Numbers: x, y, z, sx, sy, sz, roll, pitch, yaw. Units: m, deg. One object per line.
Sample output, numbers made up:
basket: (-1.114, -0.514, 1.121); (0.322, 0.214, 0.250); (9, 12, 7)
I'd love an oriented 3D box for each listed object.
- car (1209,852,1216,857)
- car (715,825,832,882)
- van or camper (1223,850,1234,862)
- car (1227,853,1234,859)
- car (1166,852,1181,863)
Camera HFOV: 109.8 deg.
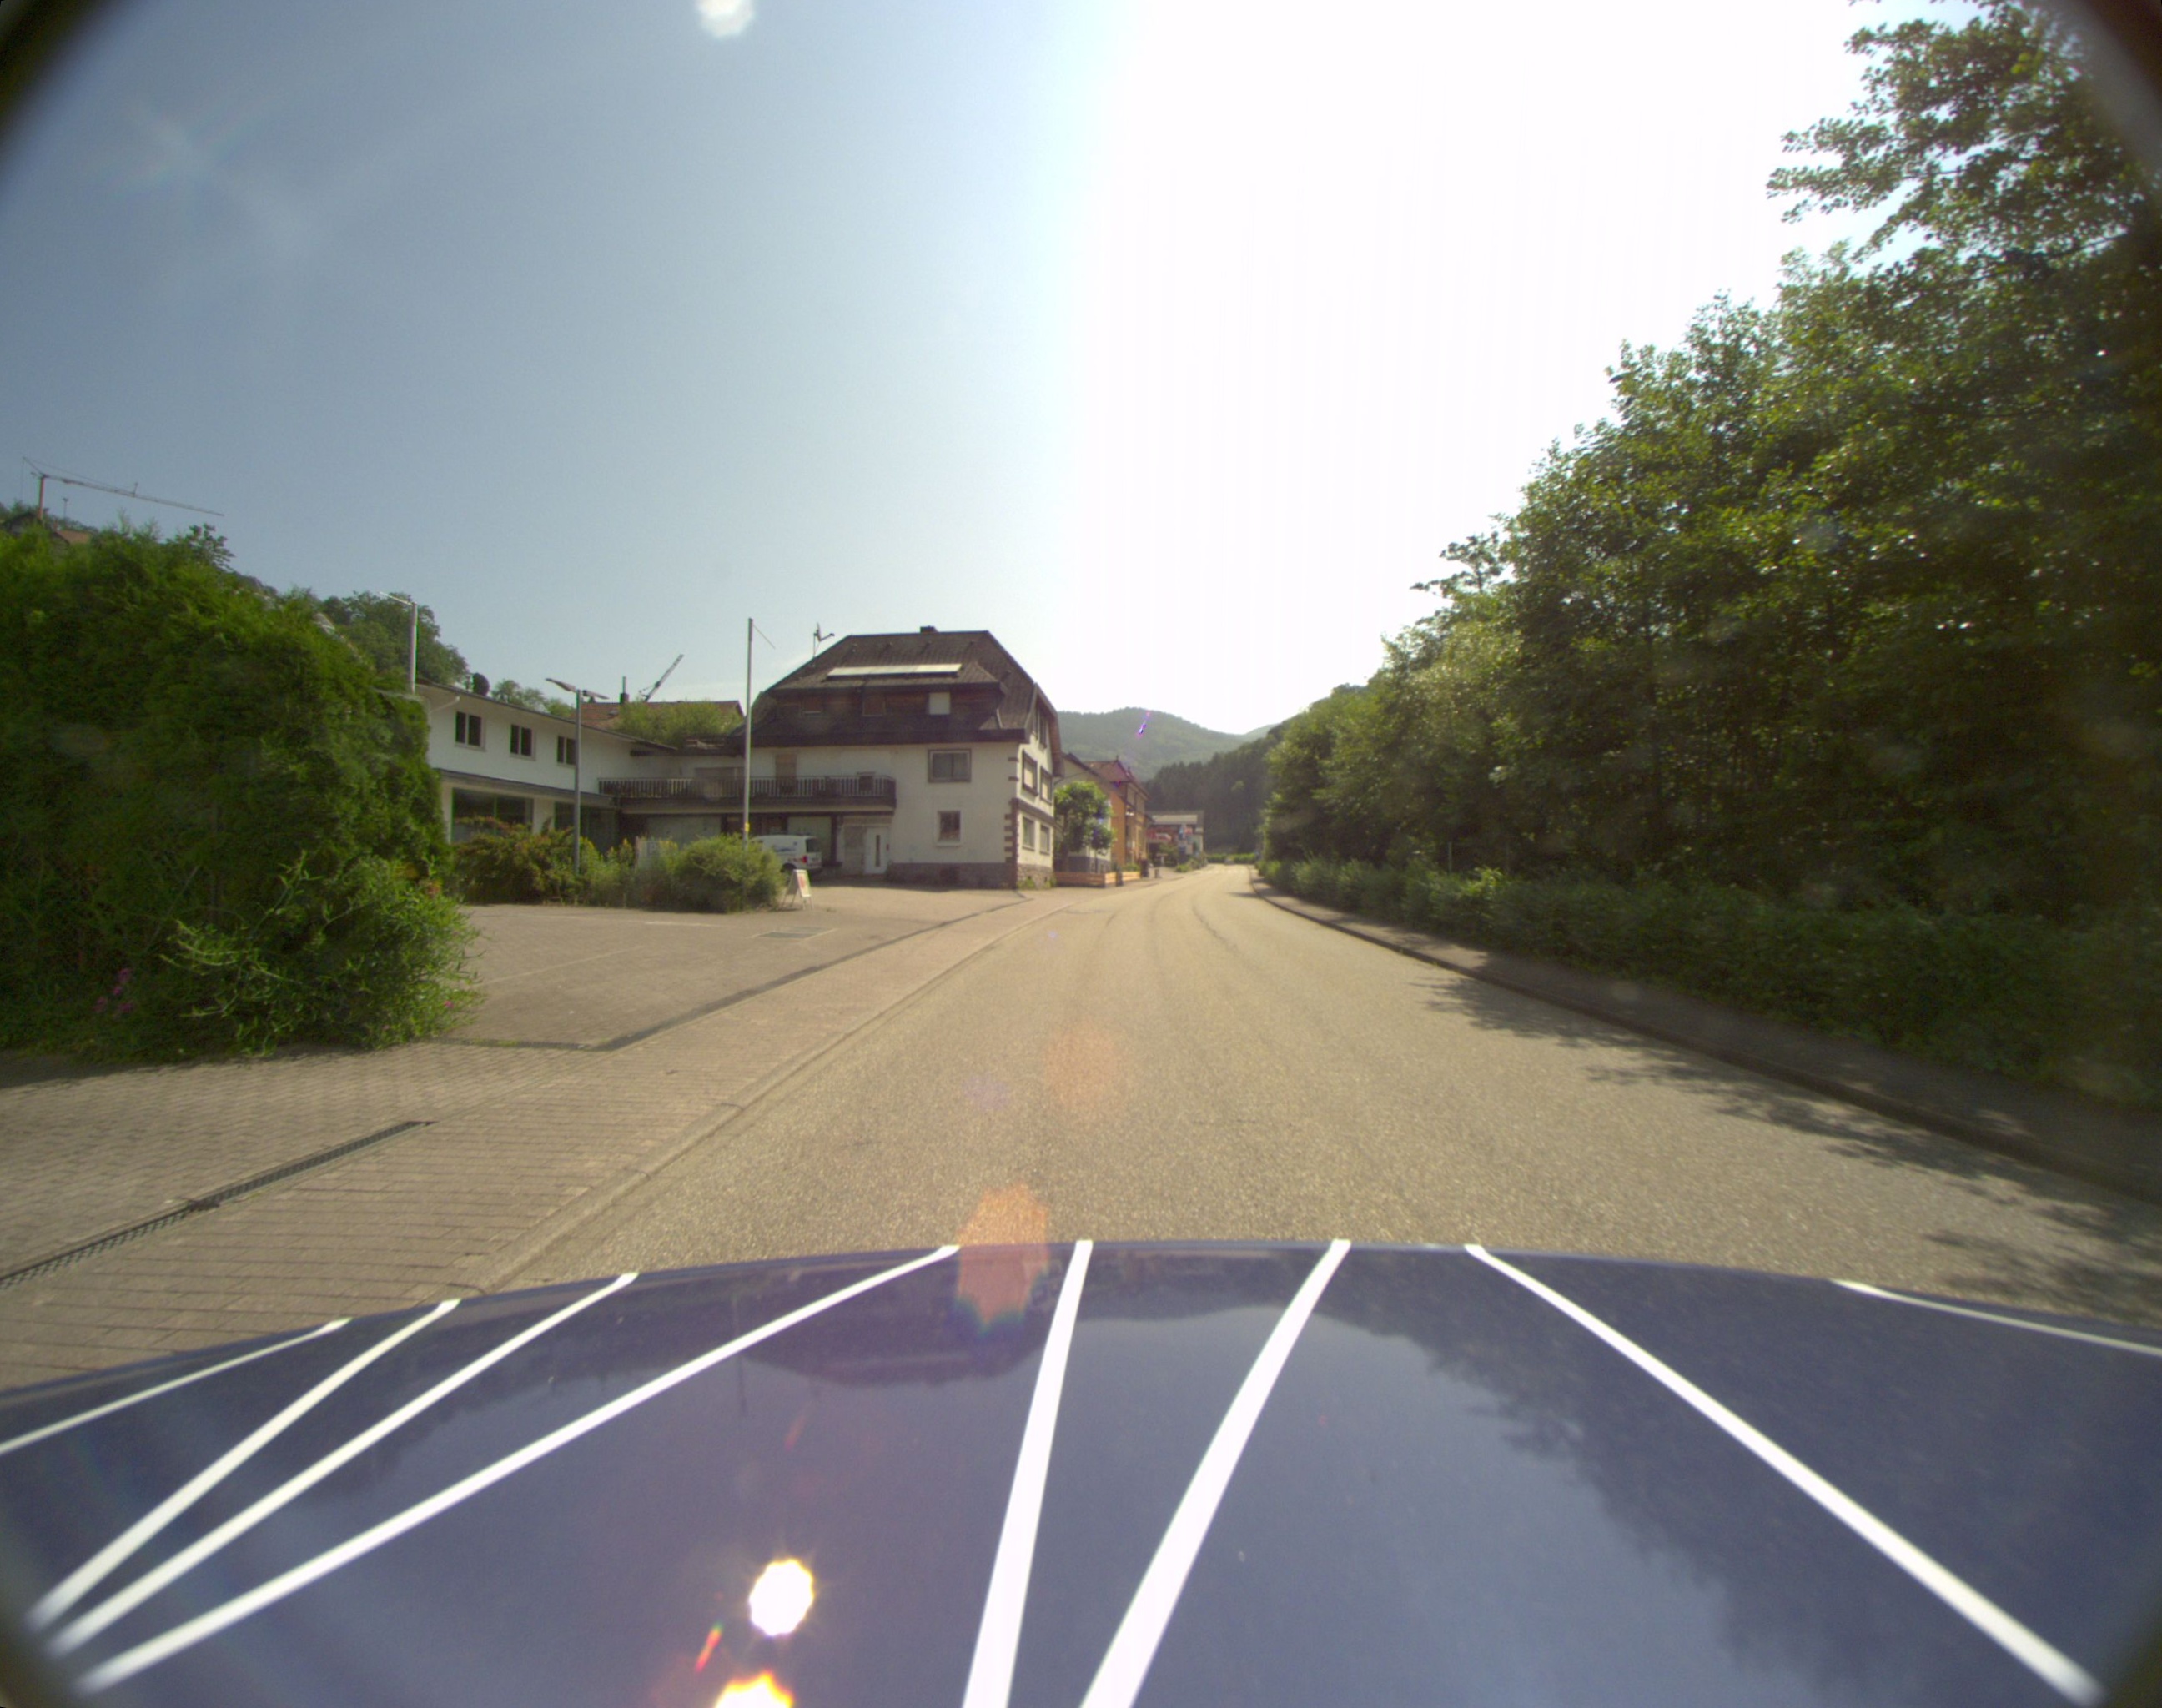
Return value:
car: (36.313, 0.190, 209.735); (1.607, 1.398, 3.830); (2, 1, 12)
car: (-12.466, -0.050, 30.908); (4.014, 1.973, 1.636); (4, 2, 4)
van or camper: (38.401, 0.458, 197.371); (2.361, 2.935, 8.059); (1, 0, 13)
car: (36.337, 0.513, 184.666); (1.592, 1.474, 3.761); (1, 0, 14)
car: (14.342, 0.569, 117.462); (1.694, 1.568, 3.915); (4, 1, 13)
